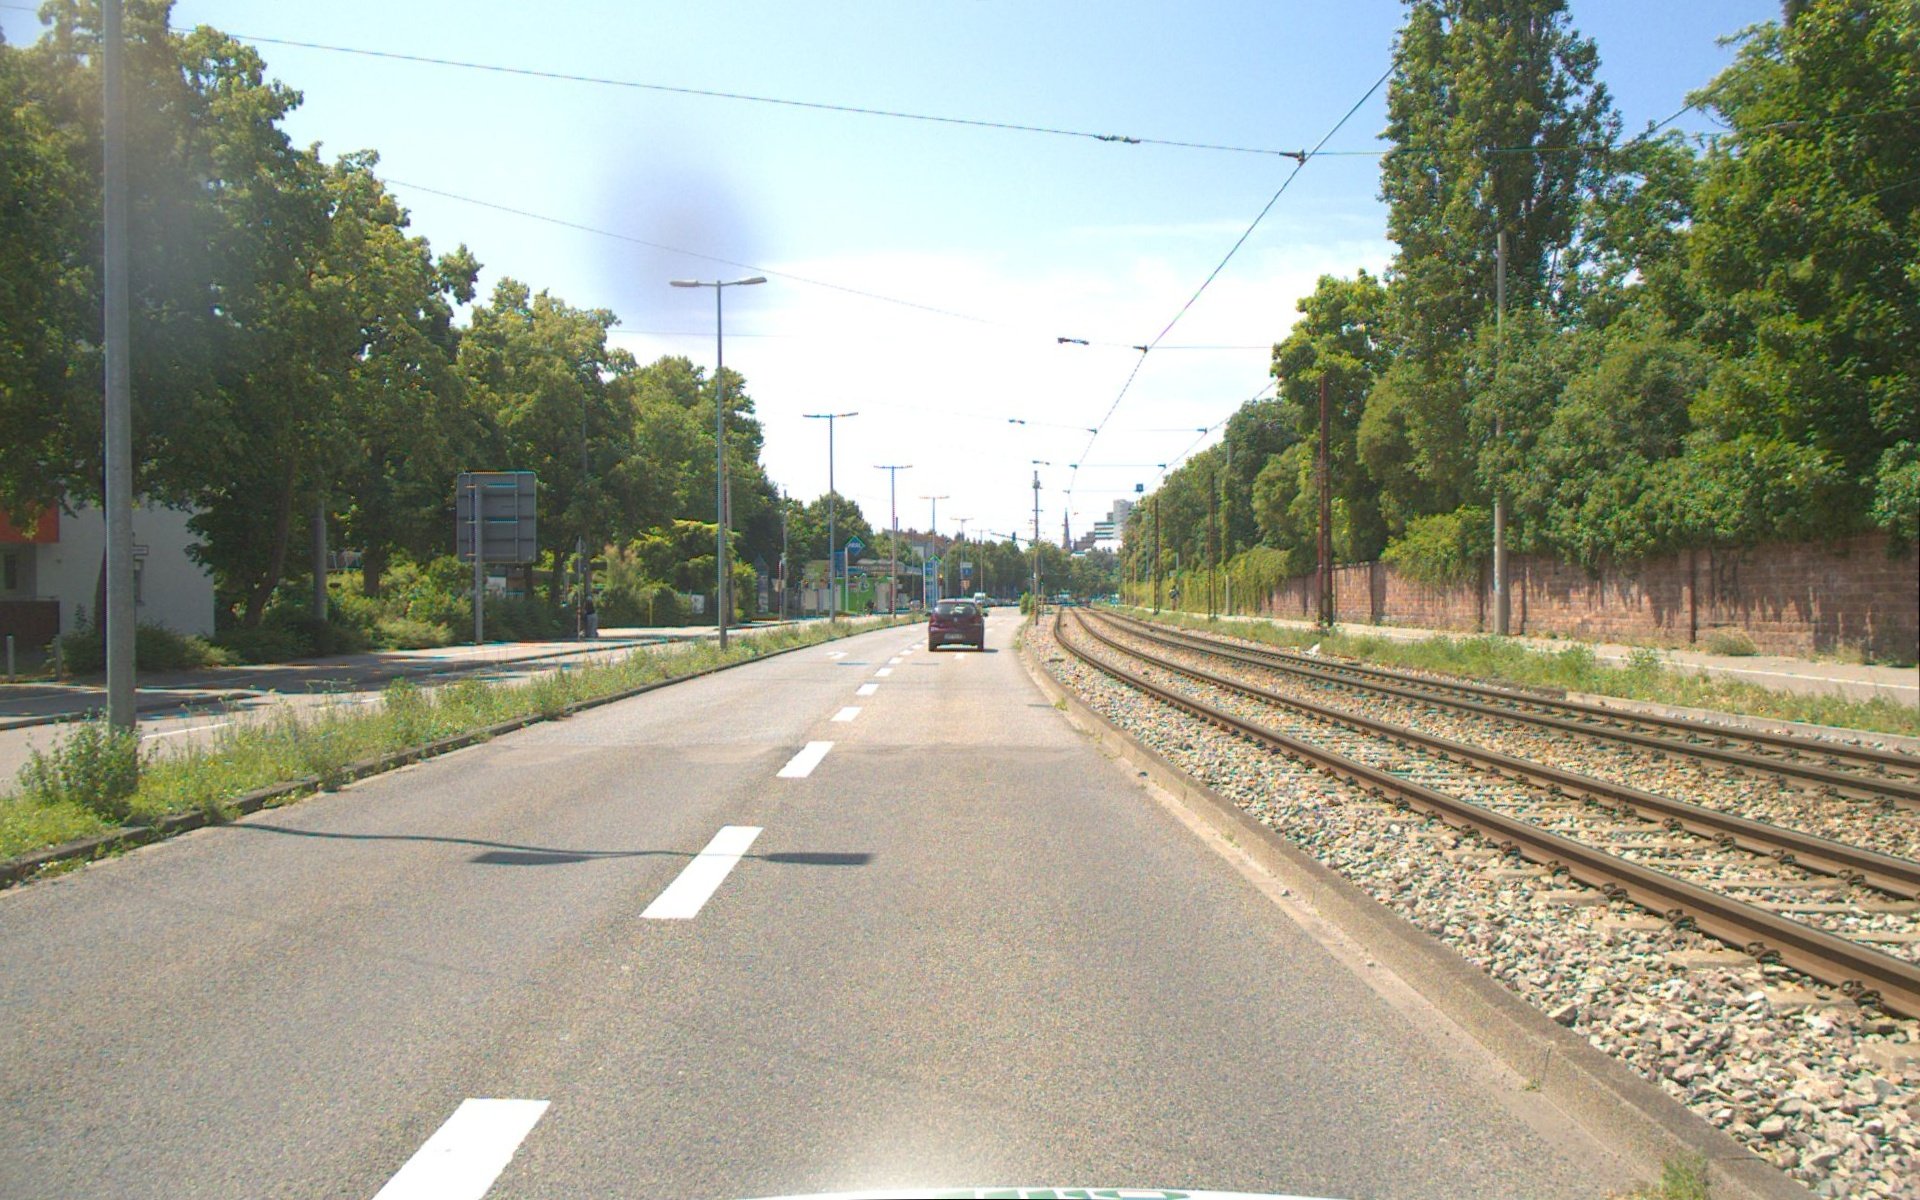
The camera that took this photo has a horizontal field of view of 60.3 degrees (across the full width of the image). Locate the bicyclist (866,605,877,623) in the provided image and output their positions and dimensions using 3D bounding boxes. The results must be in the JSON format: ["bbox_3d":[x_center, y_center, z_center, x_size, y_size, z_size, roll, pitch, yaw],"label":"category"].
[{"bbox_3d":[-8.336,1.340,155.752,0.927,1.621,1.084,1,-1,-12],"label":"bicyclist"}]

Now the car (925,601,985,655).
[{"bbox_3d":[-0.140,0.834,48.172,1.668,1.503,3.716,0,-1,0],"label":"car"}]

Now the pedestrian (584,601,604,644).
[{"bbox_3d":[-15.258,0.929,68.950,0.537,1.748,0.604,-1,0,16],"label":"pedestrian"}]

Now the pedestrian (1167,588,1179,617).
[{"bbox_3d":[13.295,0.155,103.359,0.648,1.756,0.817,-1,0,2],"label":"pedestrian"}]

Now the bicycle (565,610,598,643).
[{"bbox_3d":[-15.819,1.111,69.117,0.632,1.351,1.574,-1,0,15],"label":"bicycle"}]

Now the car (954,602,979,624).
[{"bbox_3d":[0.460,0.946,119.995,1.668,1.506,3.715,1,0,-2],"label":"car"}]

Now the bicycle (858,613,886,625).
[{"bbox_3d":[-8.289,1.784,155.724,2.505,1.056,1.084,1,-1,-12],"label":"bicycle"}]
